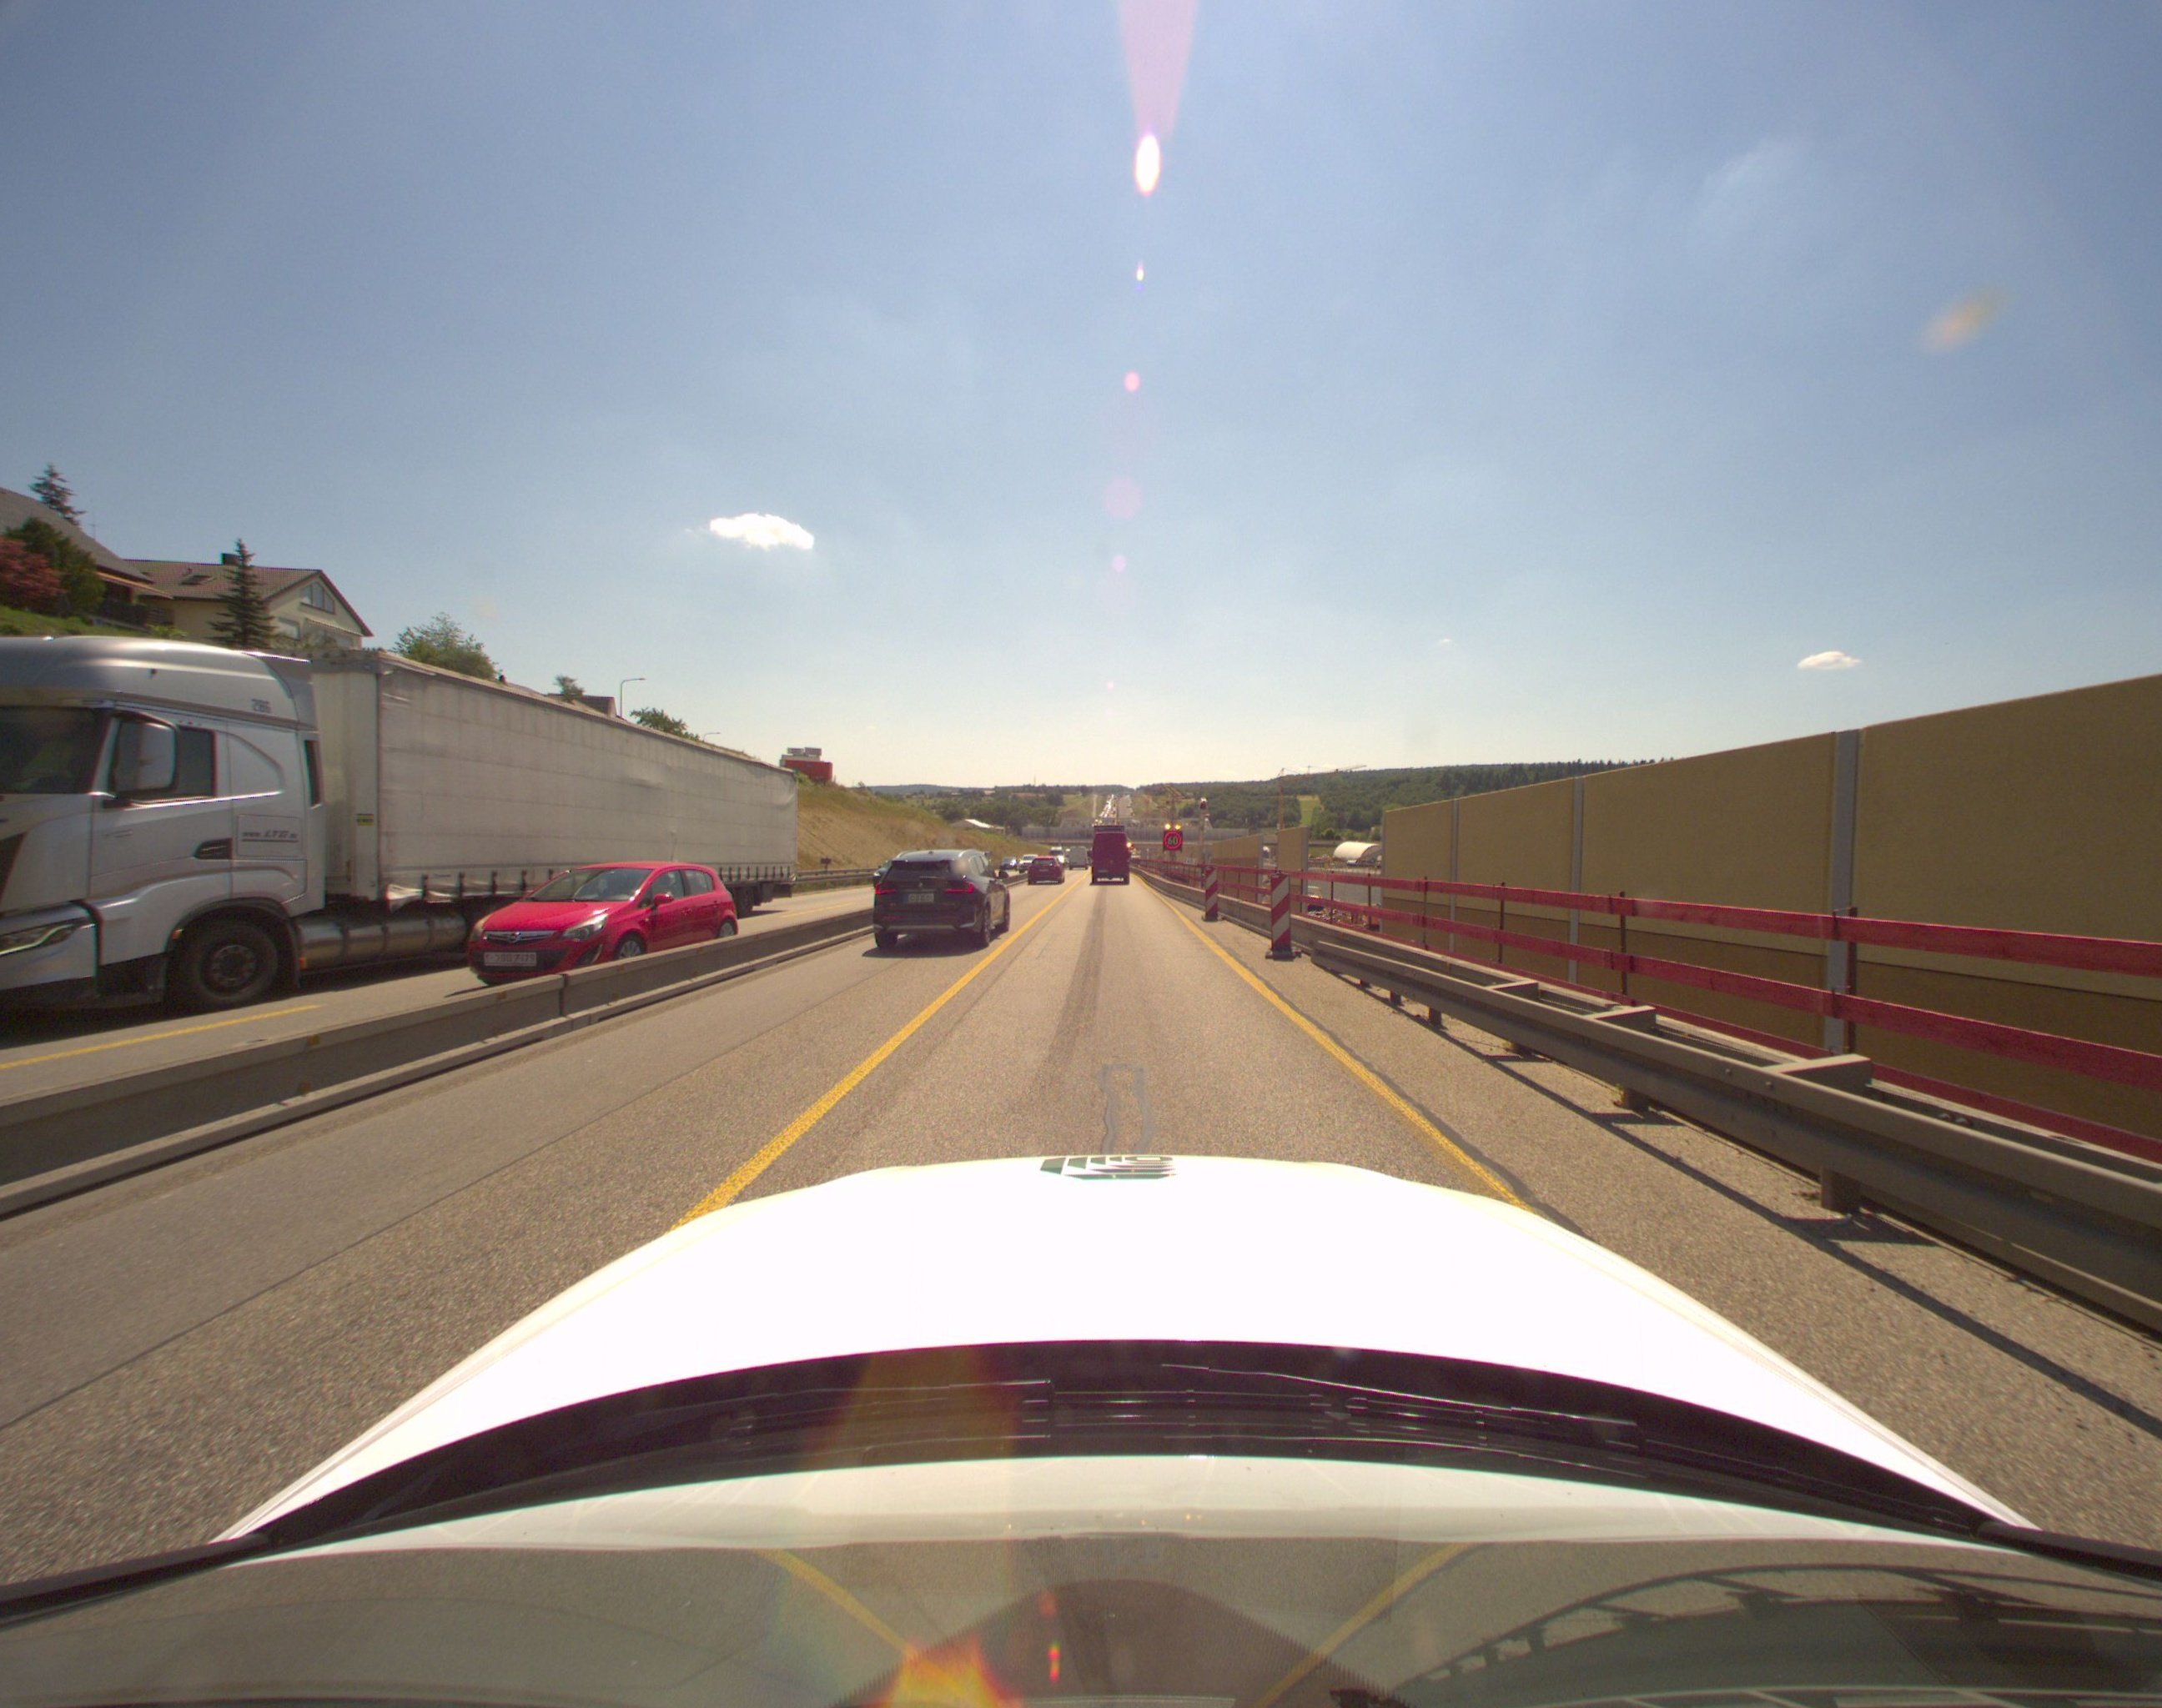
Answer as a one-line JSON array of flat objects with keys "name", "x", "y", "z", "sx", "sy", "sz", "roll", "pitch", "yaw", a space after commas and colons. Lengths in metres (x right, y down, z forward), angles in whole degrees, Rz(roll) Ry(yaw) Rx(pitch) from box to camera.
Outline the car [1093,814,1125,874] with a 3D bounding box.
[{"name": "car", "x": 2.538, "y": -0.849, "z": 74.304, "sx": 2.611, "sy": 5.032, "sz": 10.400, "roll": -1, "pitch": 0, "yaw": 2}]

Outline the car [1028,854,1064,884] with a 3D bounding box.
[{"name": "car", "x": -1.839, "y": 0.761, "z": 43.151, "sx": 1.771, "sy": 1.517, "sz": 4.202, "roll": -1, "pitch": 0, "yaw": -2}]

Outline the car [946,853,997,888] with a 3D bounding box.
[{"name": "car", "x": -5.478, "y": 0.819, "z": 41.311, "sx": 1.826, "sy": 1.666, "sz": 4.415, "roll": -1, "pitch": 0, "yaw": 1}]

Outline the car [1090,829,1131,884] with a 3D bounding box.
[{"name": "car", "x": 1.555, "y": 0.139, "z": 42.848, "sx": 1.981, "sy": 2.690, "sz": 4.625, "roll": -1, "pitch": 0, "yaw": 2}]

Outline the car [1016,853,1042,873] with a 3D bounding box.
[{"name": "car", "x": -4.683, "y": 0.773, "z": 73.832, "sx": 1.833, "sy": 1.654, "sz": 5.372, "roll": -1, "pitch": 0, "yaw": 1}]

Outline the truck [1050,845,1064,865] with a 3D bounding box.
[{"name": "truck", "x": -4.980, "y": 0.207, "z": 171.223, "sx": 2.688, "sy": 4.050, "sz": 3.956, "roll": 0, "pitch": 0, "yaw": 1}]

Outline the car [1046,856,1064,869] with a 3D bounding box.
[{"name": "car", "x": -3.215, "y": 1.055, "z": 101.228, "sx": 1.948, "sy": 1.499, "sz": 5.092, "roll": 0, "pitch": 0, "yaw": 2}]

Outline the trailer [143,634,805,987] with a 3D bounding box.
[{"name": "trailer", "x": -9.609, "y": -0.526, "z": 16.690, "sx": 2.775, "sy": 4.182, "sz": 13.983, "roll": -1, "pitch": 0, "yaw": 1}]

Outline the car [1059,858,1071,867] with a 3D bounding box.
[{"name": "car", "x": -2.705, "y": 1.439, "z": 138.705, "sx": 1.790, "sy": 1.427, "sz": 4.951, "roll": -1, "pitch": 0, "yaw": 1}]

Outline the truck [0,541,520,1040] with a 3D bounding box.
[{"name": "truck", "x": -9.808, "y": -0.527, "z": 9.492, "sx": 2.735, "sy": 4.182, "sz": 5.290, "roll": -1, "pitch": 0, "yaw": 2}]

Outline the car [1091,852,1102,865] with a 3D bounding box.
[{"name": "car", "x": 2.802, "y": 0.794, "z": 145.791, "sx": 1.769, "sy": 2.330, "sz": 4.207, "roll": -1, "pitch": 0, "yaw": 2}]

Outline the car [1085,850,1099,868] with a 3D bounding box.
[{"name": "car", "x": 1.444, "y": 0.656, "z": 109.426, "sx": 1.769, "sy": 2.330, "sz": 4.207, "roll": -1, "pitch": 0, "yaw": 2}]

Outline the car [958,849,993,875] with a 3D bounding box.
[{"name": "car", "x": -8.514, "y": 0.625, "z": 66.031, "sx": 2.031, "sy": 1.926, "sz": 5.122, "roll": -2, "pitch": 0, "yaw": 1}]

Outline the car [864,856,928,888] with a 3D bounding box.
[{"name": "car", "x": -9.155, "y": 0.872, "z": 40.702, "sx": 1.986, "sy": 1.507, "sz": 4.720, "roll": 0, "pitch": 0, "yaw": 1}]

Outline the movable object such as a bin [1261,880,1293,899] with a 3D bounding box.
[{"name": "movable object such as a bin", "x": 29.333, "y": 5.258, "z": 122.174, "sx": 3.150, "sy": 2.446, "sz": 7.899, "roll": 2, "pitch": -1, "yaw": 2}]

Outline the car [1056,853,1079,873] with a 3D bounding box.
[{"name": "car", "x": -1.173, "y": 0.777, "z": 71.368, "sx": 1.833, "sy": 1.654, "sz": 4.166, "roll": -1, "pitch": 0, "yaw": 1}]

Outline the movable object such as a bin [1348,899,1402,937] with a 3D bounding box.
[{"name": "movable object such as a bin", "x": 22.401, "y": 4.869, "z": 62.277, "sx": 2.599, "sy": 2.489, "sz": 4.455, "roll": 1, "pitch": 0, "yaw": 1}]

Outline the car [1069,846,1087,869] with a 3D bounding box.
[{"name": "car", "x": -0.272, "y": 0.393, "z": 90.203, "sx": 1.769, "sy": 2.441, "sz": 4.207, "roll": -1, "pitch": 0, "yaw": 2}]

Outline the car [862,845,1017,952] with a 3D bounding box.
[{"name": "car", "x": -2.353, "y": 0.695, "z": 14.806, "sx": 1.873, "sy": 1.618, "sz": 4.501, "roll": -1, "pitch": 0, "yaw": 2}]

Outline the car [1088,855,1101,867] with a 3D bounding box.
[{"name": "car", "x": 2.092, "y": 1.043, "z": 124.794, "sx": 1.769, "sy": 1.670, "sz": 4.030, "roll": -1, "pitch": 0, "yaw": 2}]

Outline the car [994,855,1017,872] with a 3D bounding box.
[{"name": "car", "x": -7.522, "y": 0.943, "z": 81.680, "sx": 1.678, "sy": 1.585, "sz": 5.128, "roll": 0, "pitch": 0, "yaw": 2}]

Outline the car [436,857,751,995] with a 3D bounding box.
[{"name": "car", "x": -6.103, "y": 0.788, "z": 10.837, "sx": 1.663, "sy": 1.466, "sz": 4.002, "roll": -1, "pitch": 0, "yaw": 2}]

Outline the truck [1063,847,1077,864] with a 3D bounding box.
[{"name": "truck", "x": -2.244, "y": 0.257, "z": 163.238, "sx": 2.529, "sy": 3.374, "sz": 7.040, "roll": 0, "pitch": 0, "yaw": 1}]
